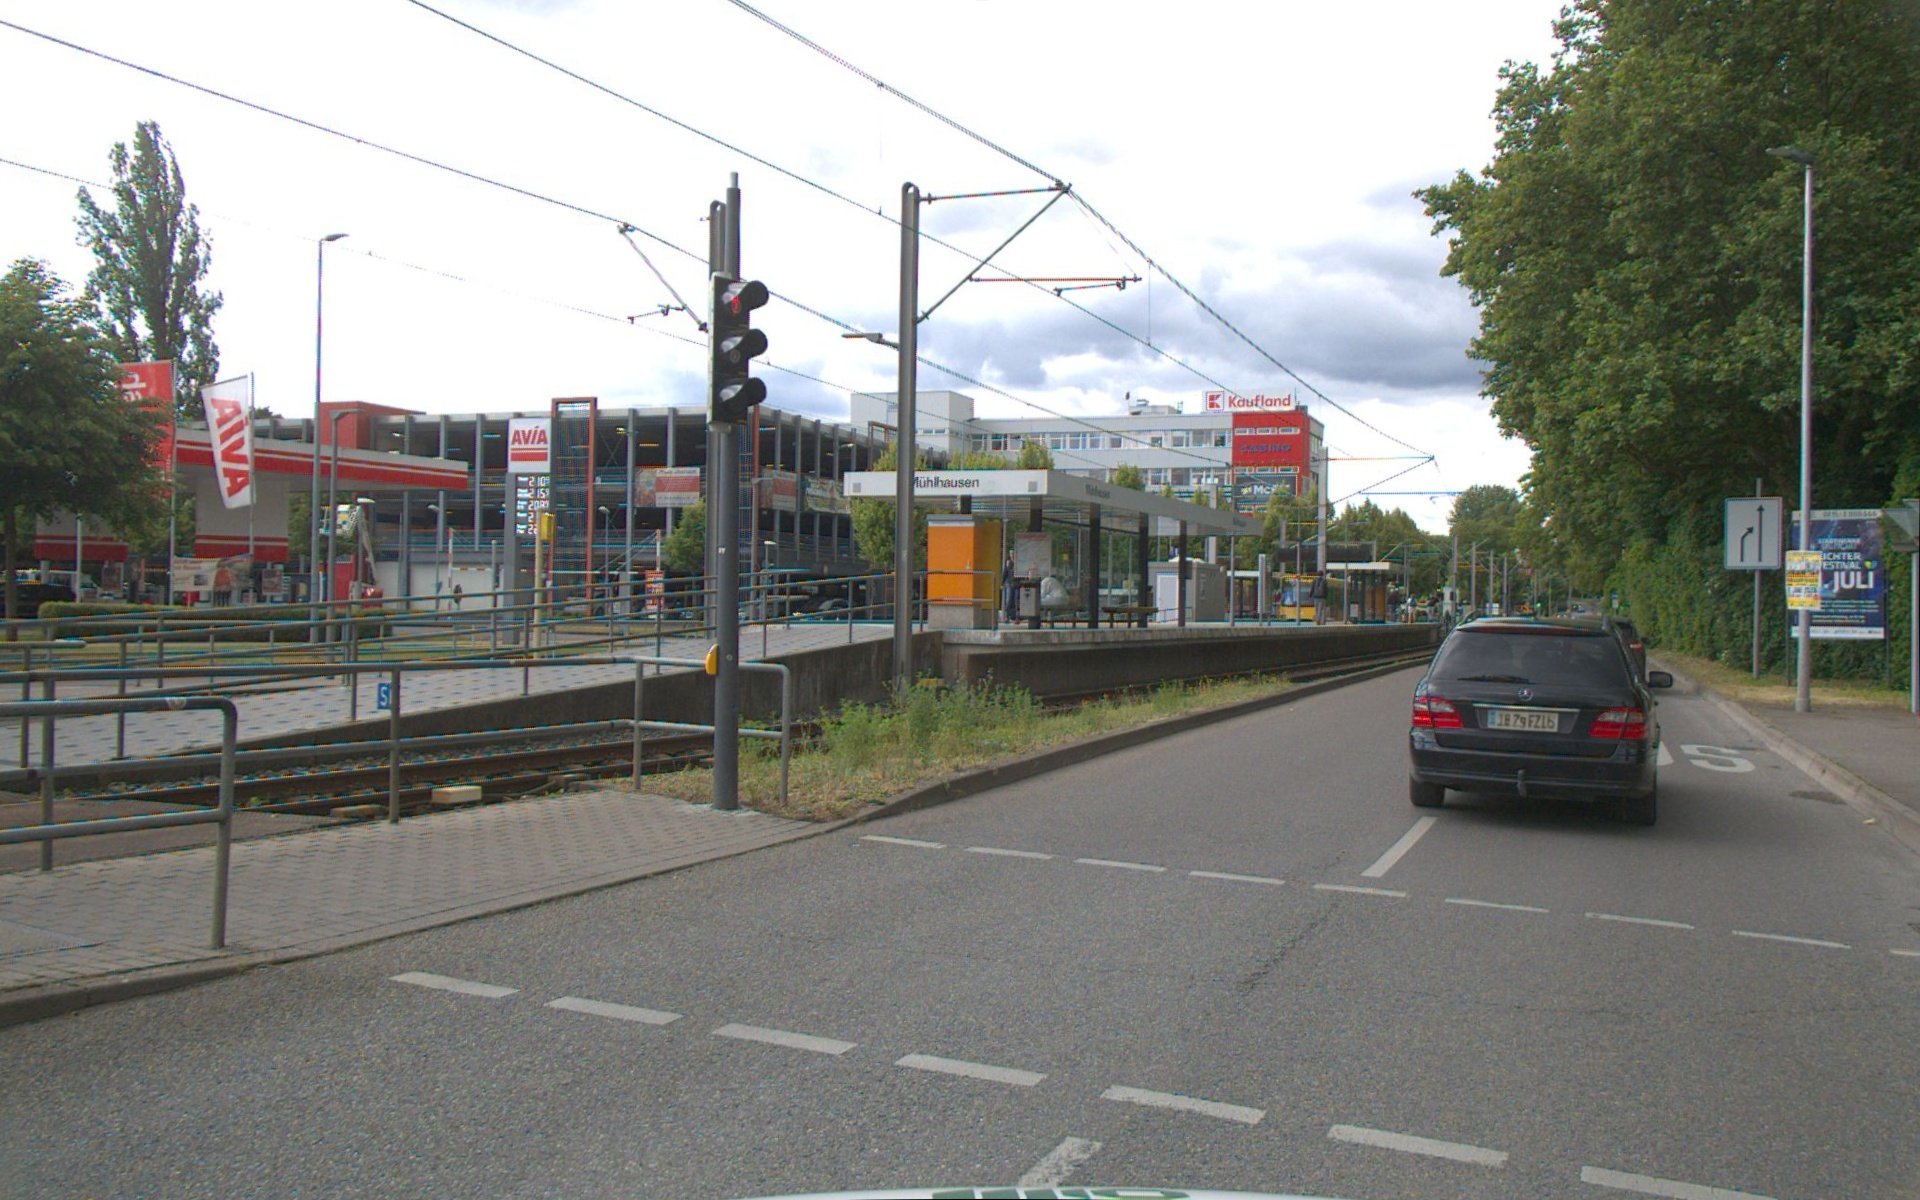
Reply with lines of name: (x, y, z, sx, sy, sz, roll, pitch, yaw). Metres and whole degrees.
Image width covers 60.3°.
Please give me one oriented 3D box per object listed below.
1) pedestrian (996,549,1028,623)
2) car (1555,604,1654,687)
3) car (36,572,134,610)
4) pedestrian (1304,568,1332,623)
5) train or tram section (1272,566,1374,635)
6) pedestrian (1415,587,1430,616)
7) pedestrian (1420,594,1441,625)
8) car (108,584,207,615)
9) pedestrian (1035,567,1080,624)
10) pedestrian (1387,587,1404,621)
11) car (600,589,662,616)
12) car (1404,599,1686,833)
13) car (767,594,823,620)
pedestrian: (1.173, -0.305, 37.137, 0.558, 1.649, 0.586, 0, -1, 22)
car: (13.615, 0.920, 35.046, 1.788, 1.556, 4.416, 2, 0, 21)
car: (-42.950, -0.418, 81.252, 1.870, 1.783, 4.059, 0, -1, 20)
pedestrian: (11.702, -0.148, 54.019, 0.733, 1.775, 0.937, 0, -1, 22)
train or tram section: (22.872, 0.087, 103.086, 2.701, 3.951, 18.623, 1, 0, 23)
pedestrian: (24.491, 0.068, 87.634, 0.574, 1.508, 0.515, 1, -1, -30)
pedestrian: (26.547, 0.544, 93.308, 0.862, 1.707, 0.739, 1, -1, -25)
car: (-38.132, 0.008, 78.690, 1.870, 1.389, 4.059, 0, -1, 21)
pedestrian: (2.122, -0.091, 36.007, 0.754, 1.210, 0.727, 1, -1, 26)
pedestrian: (22.106, 0.211, 84.016, 0.755, 1.707, 0.791, 0, -1, 21)
car: (-18.225, 0.155, 91.808, 1.681, 1.440, 3.559, 0, -1, 22)
car: (4.846, 0.795, 13.394, 1.796, 1.504, 4.414, 2, 0, 23)
car: (-9.884, 0.442, 99.270, 1.740, 1.566, 3.999, 0, -1, 22)
